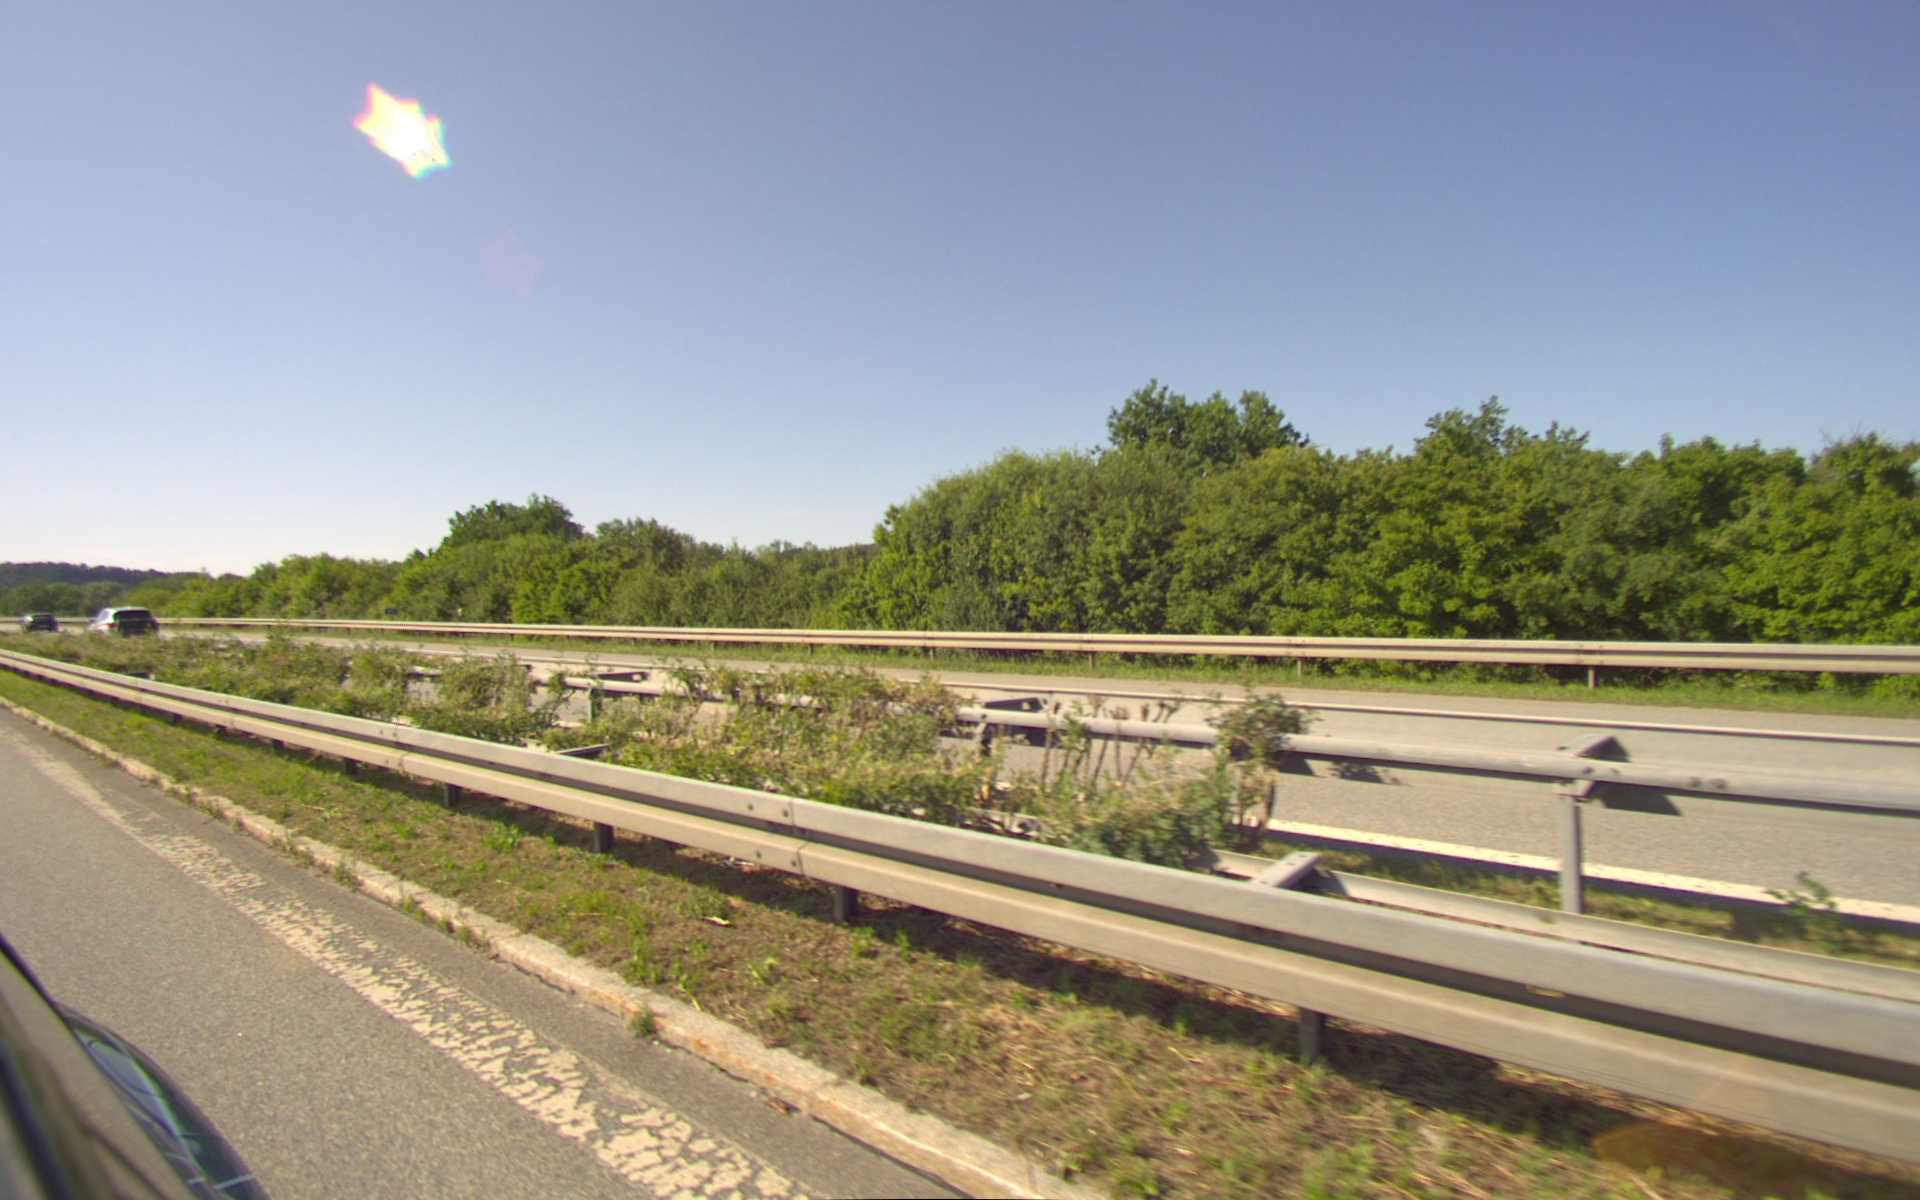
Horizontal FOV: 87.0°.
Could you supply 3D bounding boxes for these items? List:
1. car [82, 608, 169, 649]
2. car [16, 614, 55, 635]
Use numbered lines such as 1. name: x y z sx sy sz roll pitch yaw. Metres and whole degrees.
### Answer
1. car: -34.611 1.181 41.929 4.912 1.600 1.891 -2 -1 39
2. car: -67.692 1.798 74.068 4.767 1.456 1.720 -1 0 43
